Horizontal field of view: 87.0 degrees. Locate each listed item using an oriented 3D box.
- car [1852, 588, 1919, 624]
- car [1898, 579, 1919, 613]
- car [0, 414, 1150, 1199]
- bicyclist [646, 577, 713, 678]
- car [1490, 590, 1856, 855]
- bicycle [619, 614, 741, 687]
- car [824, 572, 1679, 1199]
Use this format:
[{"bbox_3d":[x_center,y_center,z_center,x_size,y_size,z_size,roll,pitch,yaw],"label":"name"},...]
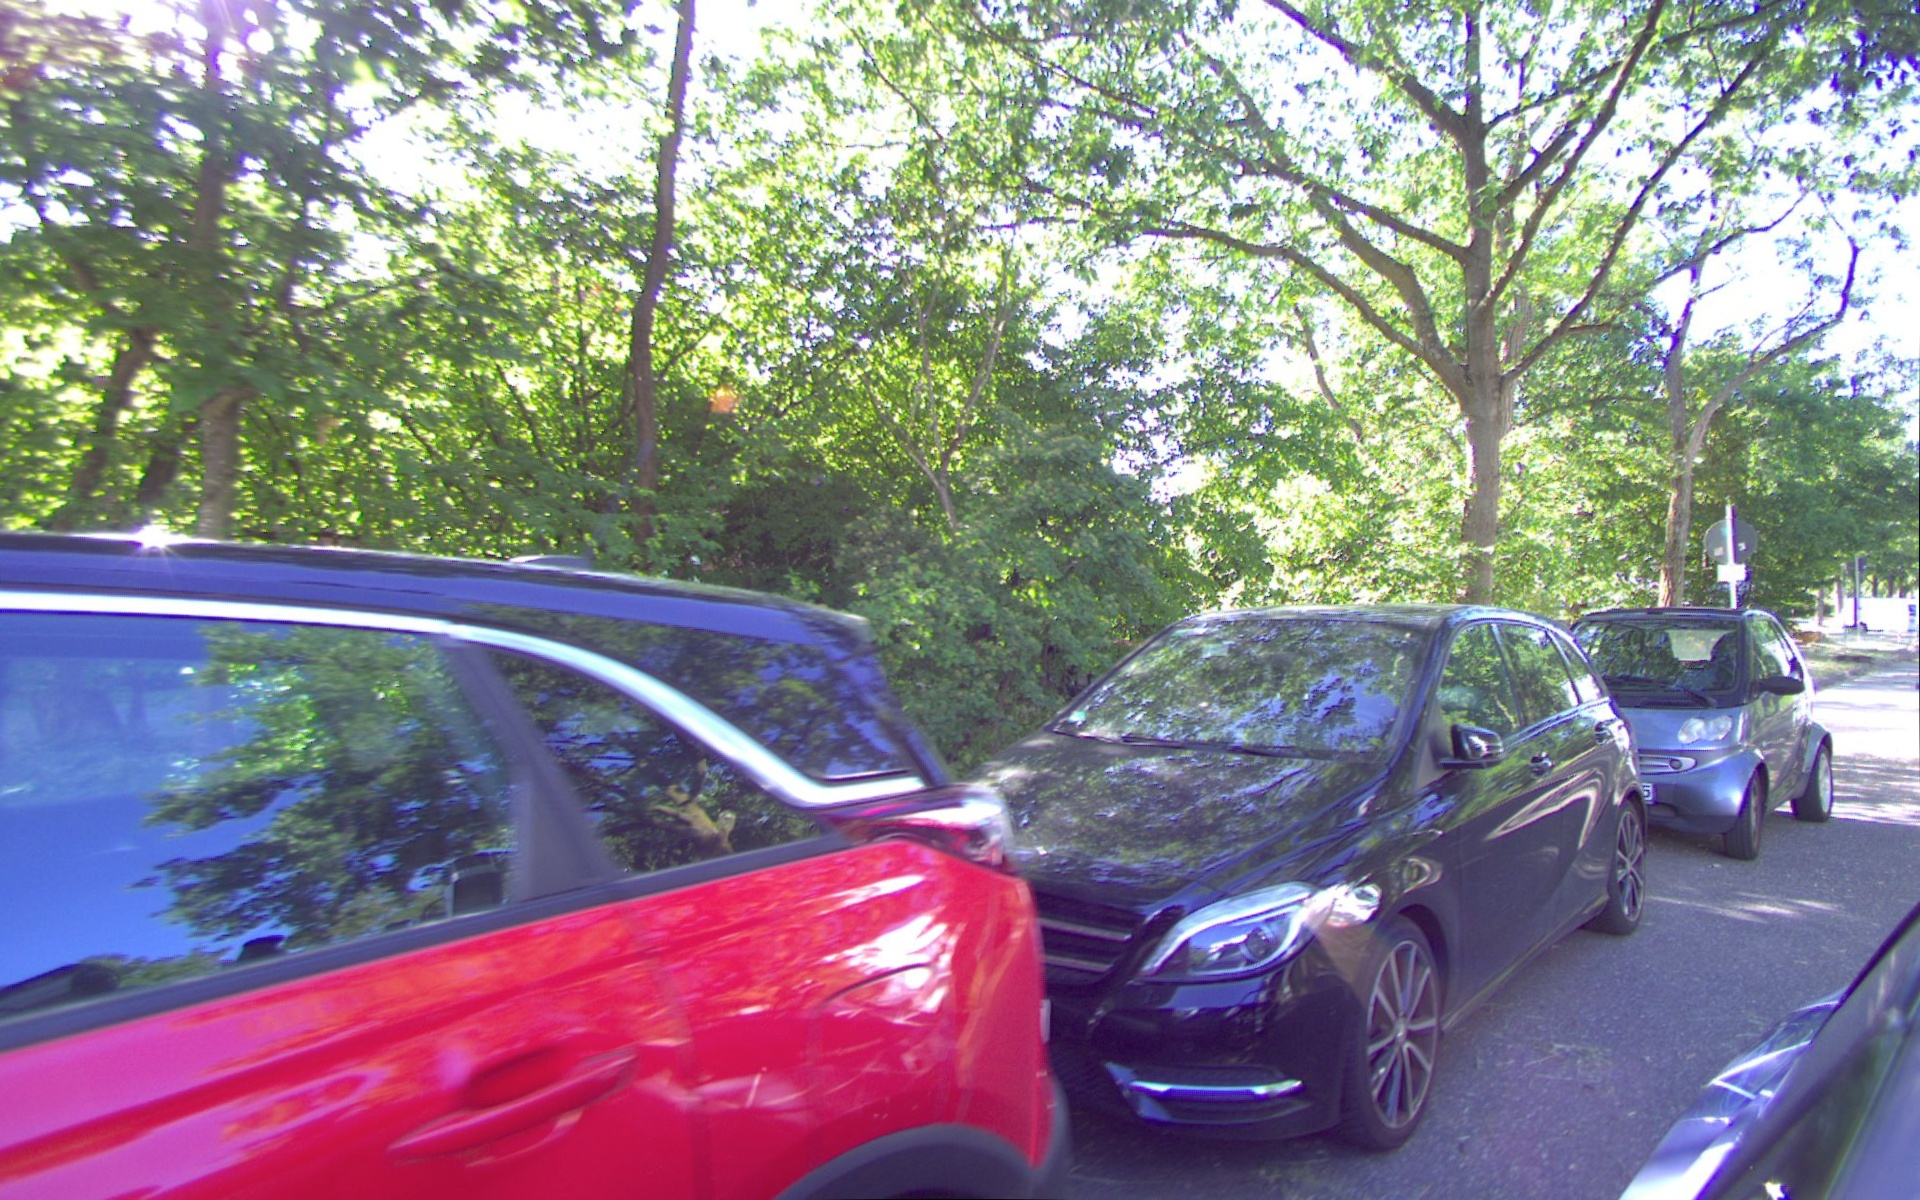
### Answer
[{"bbox_3d":[55.591,0.353,58.945,1.966,2.030,5.262,1,1,-43],"label":"car"},{"bbox_3d":[75.023,-0.270,77.680,4.401,2.578,1.858,2,1,45],"label":"car"},{"bbox_3d":[-1.736,0.660,1.029,3.995,1.594,1.681,0,-1,-41],"label":"car"},{"bbox_3d":[-4.385,0.418,15.825,0.826,1.519,0.632,1,-1,-42],"label":"bicyclist"},{"bbox_3d":[5.169,0.721,7.277,2.629,1.529,1.497,0,-1,-39],"label":"car"},{"bbox_3d":[-4.365,0.757,15.844,1.754,1.053,0.632,0,0,-42],"label":"bicycle"},{"bbox_3d":[1.575,0.721,4.293,4.081,1.529,1.713,0,-1,-45],"label":"car"}]
